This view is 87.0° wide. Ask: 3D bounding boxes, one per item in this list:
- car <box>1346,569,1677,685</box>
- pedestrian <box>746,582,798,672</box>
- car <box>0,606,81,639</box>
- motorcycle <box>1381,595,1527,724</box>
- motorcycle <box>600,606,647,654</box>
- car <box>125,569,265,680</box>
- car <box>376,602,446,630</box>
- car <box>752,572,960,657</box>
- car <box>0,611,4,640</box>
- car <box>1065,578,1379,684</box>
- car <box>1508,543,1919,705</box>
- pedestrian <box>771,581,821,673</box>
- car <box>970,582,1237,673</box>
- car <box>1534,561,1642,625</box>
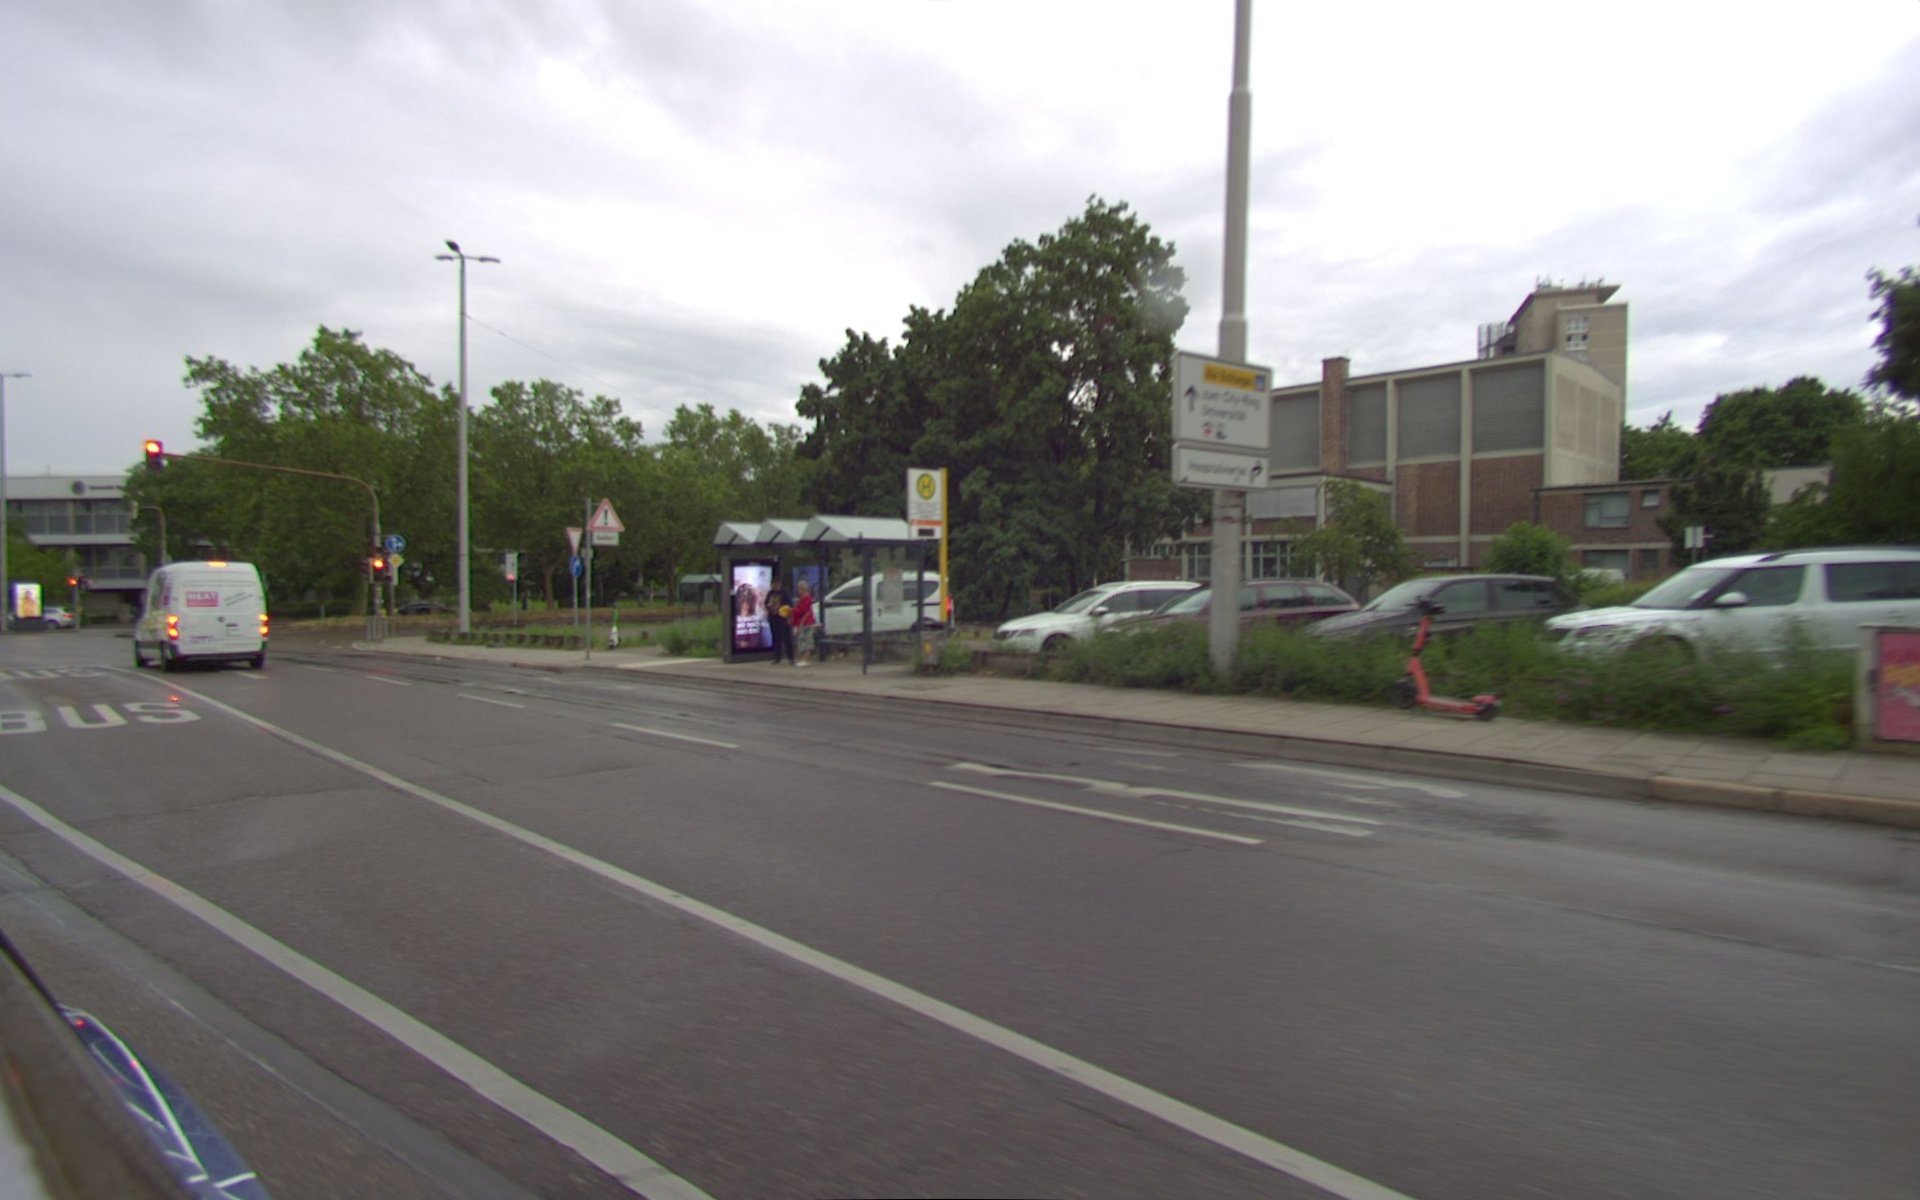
[{"bbox_3d":[7.503,0.323,13.989,3.542,1.359,1.846,-2,1,-6],"label":"car"},{"bbox_3d":[-3.709,0.519,19.994,0.671,1.708,0.677,-1,2,38],"label":"pedestrian"},{"bbox_3d":[-57.892,1.404,63.097,4.272,1.925,2.084,-1,-1,-29],"label":"car"},{"bbox_3d":[5.163,0.588,10.613,0.508,1.256,1.269,-3,2,-43],"label":"motorcycle"},{"bbox_3d":[-9.161,0.798,27.548,1.263,1.256,0.511,-1,2,32],"label":"motorcycle"},{"bbox_3d":[-19.588,0.601,25.799,5.633,2.548,1.961,-1,-1,44],"label":"car"},{"bbox_3d":[-40.079,1.172,73.899,4.274,1.925,2.083,-1,-1,-33],"label":"car"},{"bbox_3d":[-2.415,0.295,23.992,4.654,1.768,2.018,-2,1,-2],"label":"car"},{"bbox_3d":[-58.950,1.545,59.362,3.775,1.686,1.935,-1,-1,-29],"label":"car"},{"bbox_3d":[4.143,0.408,16.079,4.505,1.359,1.911,-3,2,-20],"label":"car"},{"bbox_3d":[8.970,0.241,11.434,4.480,1.621,1.862,-2,1,12],"label":"car"},{"bbox_3d":[-3.143,0.499,19.404,0.642,1.708,0.621,-1,2,38],"label":"pedestrian"},{"bbox_3d":[2.536,0.428,18.192,4.307,1.359,1.910,-2,2,-15],"label":"car"},{"bbox_3d":[30.252,-0.390,48.659,6.117,2.781,2.744,-3,2,-41],"label":"car"}]
